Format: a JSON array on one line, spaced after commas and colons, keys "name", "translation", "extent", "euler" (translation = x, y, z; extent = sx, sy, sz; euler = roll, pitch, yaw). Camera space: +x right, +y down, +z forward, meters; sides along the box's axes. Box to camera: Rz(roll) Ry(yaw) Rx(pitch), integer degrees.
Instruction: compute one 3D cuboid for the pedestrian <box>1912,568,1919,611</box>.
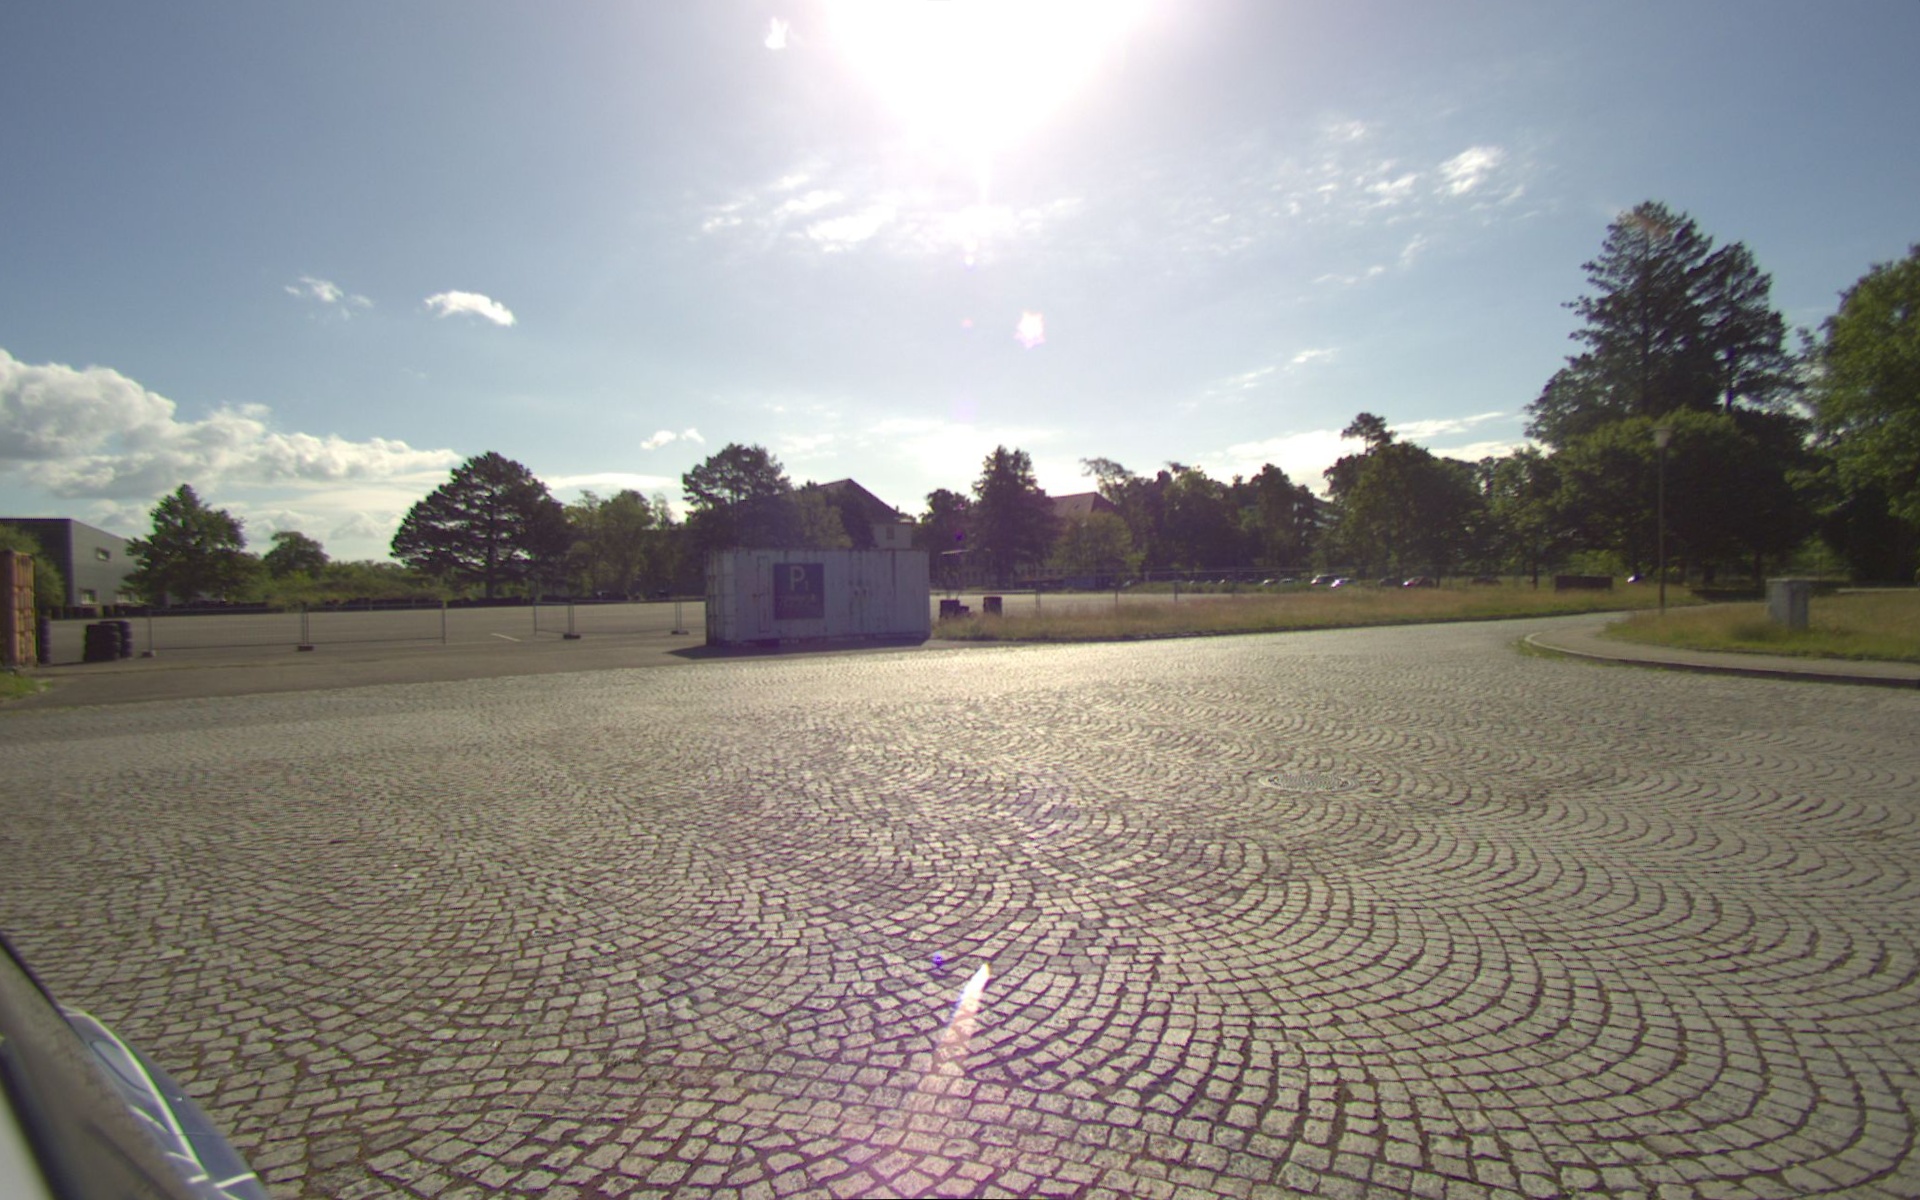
[{"name": "pedestrian", "translation": [44.831, -0.494, 46.644], "extent": [1.108, 1.943, 1.163], "euler": [-2, 2, -33]}]
